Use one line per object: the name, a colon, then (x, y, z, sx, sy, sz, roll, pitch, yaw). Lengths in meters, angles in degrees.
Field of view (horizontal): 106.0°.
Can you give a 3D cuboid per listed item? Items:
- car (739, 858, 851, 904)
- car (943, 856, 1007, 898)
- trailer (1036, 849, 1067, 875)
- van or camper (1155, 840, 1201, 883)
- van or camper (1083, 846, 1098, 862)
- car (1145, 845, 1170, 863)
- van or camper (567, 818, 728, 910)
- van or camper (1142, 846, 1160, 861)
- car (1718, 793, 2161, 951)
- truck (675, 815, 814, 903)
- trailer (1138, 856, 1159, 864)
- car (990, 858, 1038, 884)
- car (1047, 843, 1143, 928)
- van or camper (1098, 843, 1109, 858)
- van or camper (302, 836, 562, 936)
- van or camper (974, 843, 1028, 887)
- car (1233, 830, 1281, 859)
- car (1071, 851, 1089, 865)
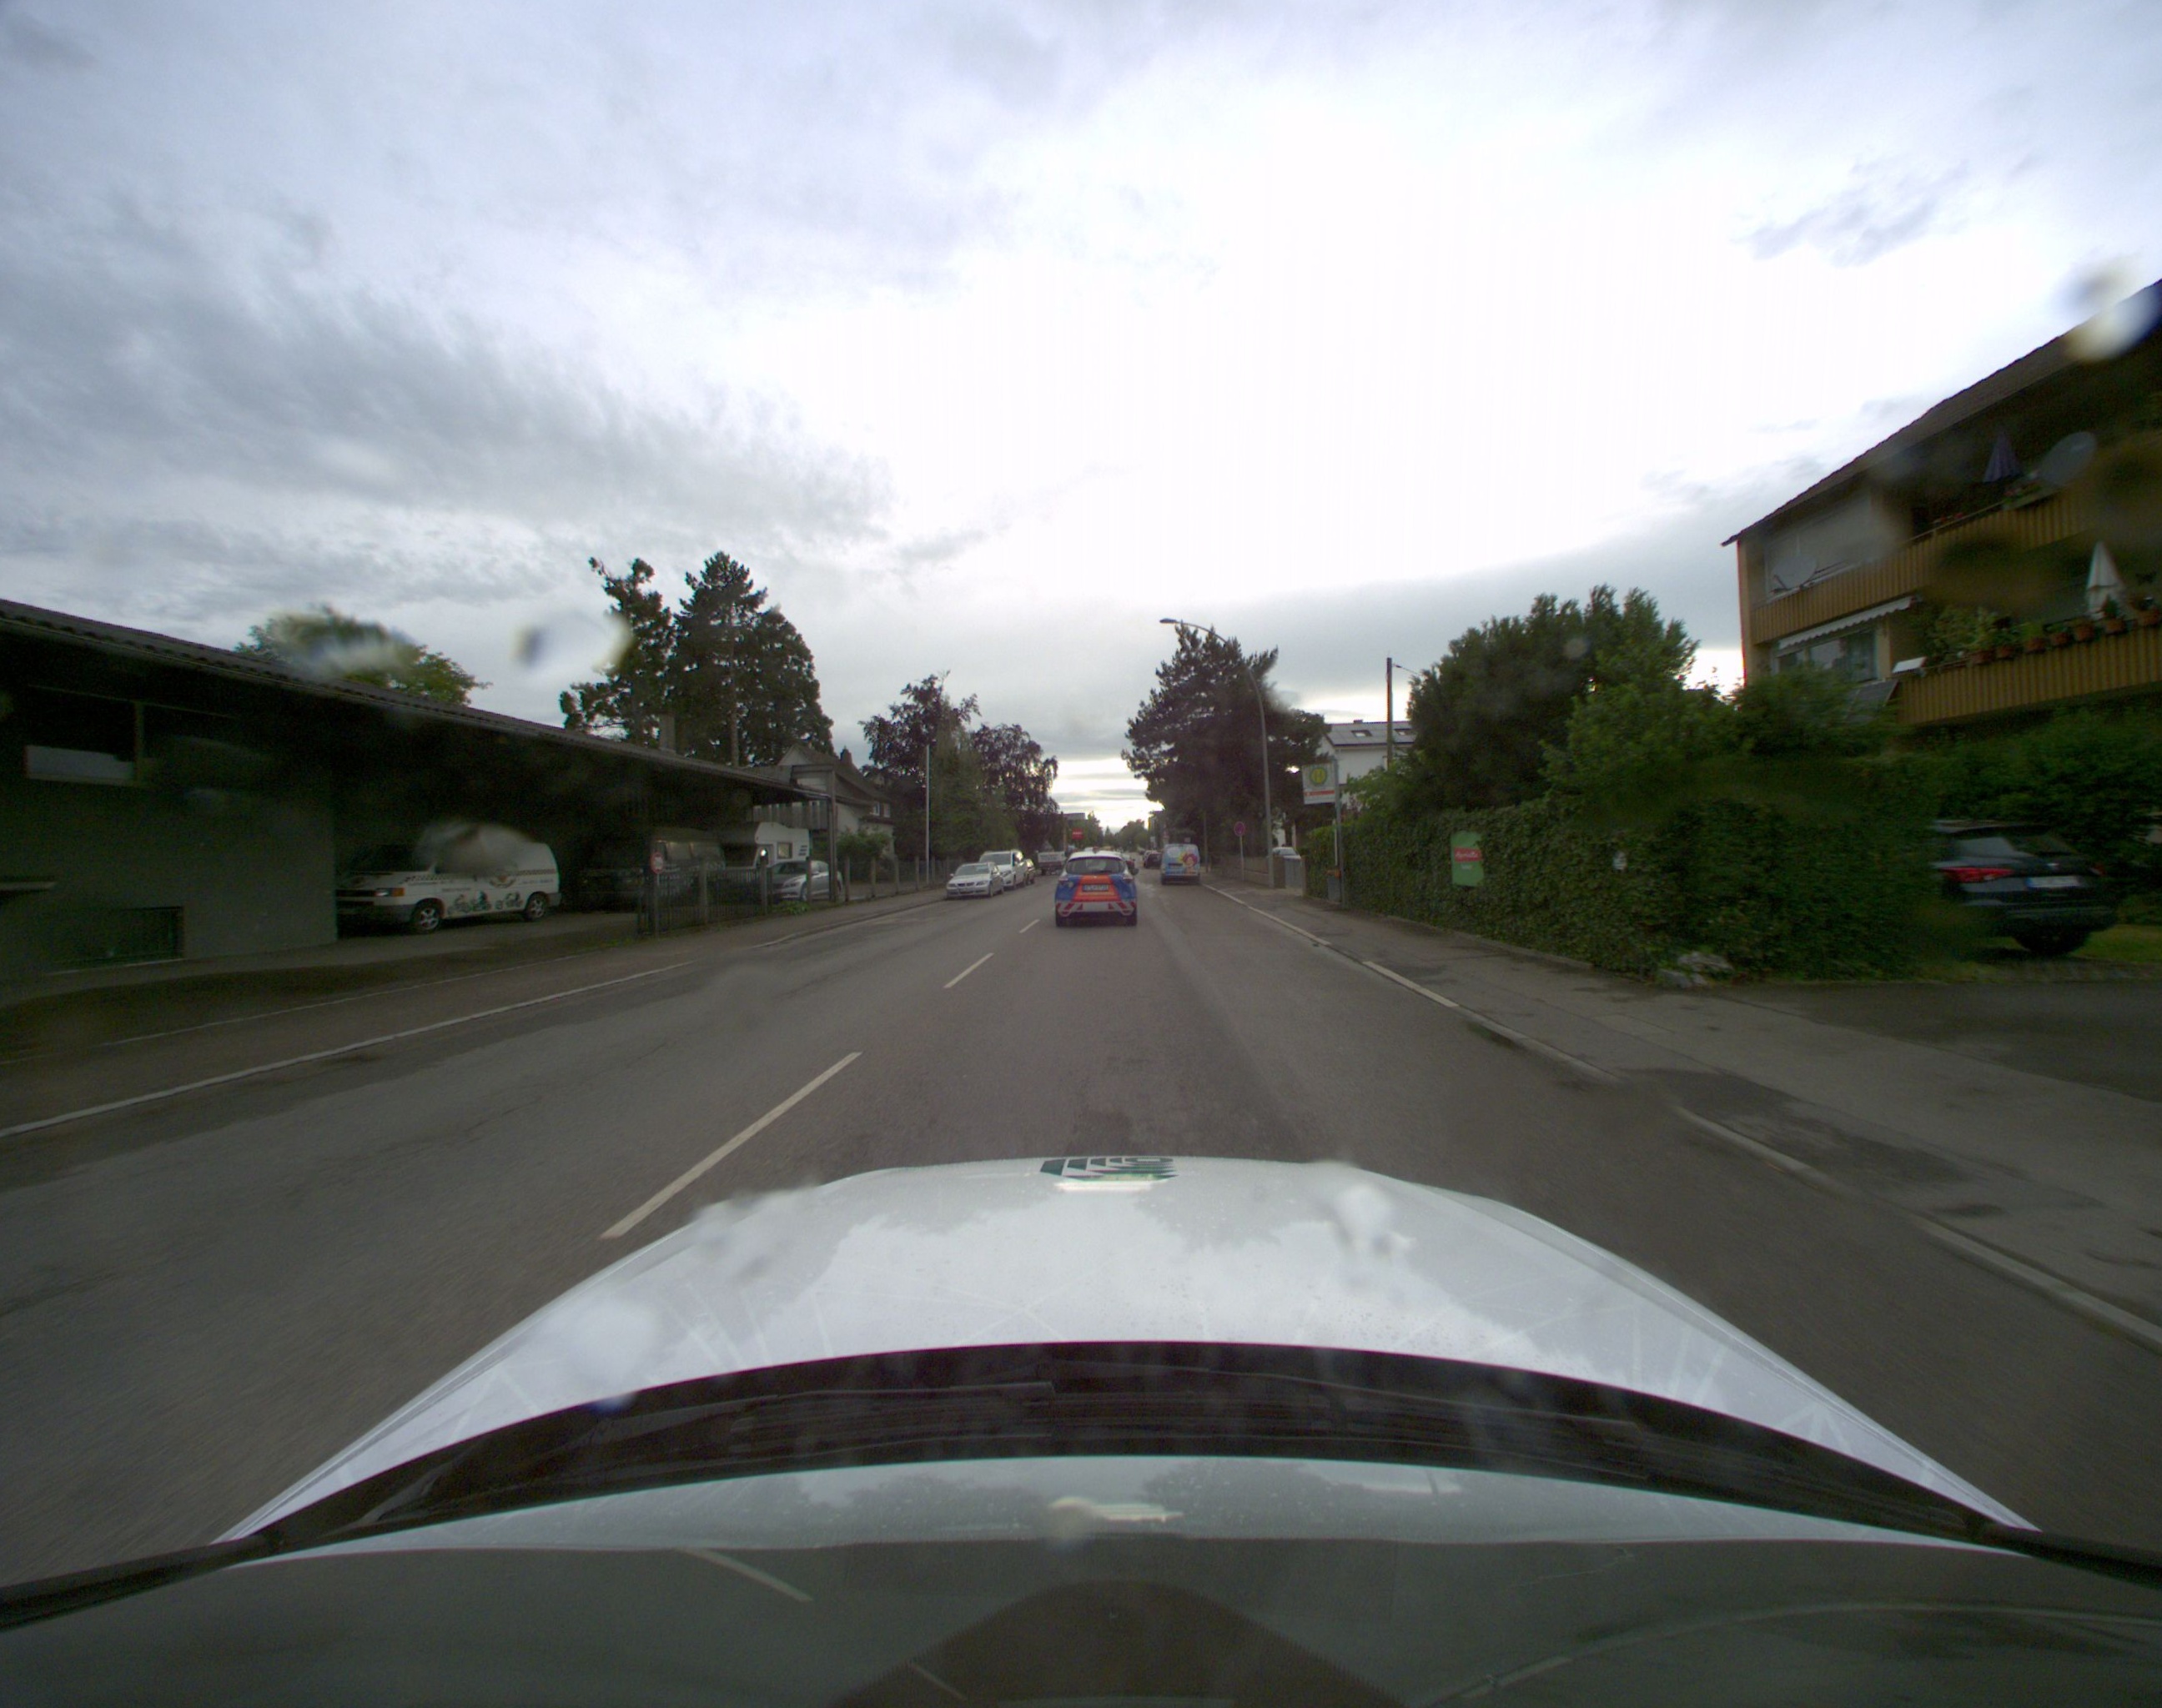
car: (-9.815, 0.904, 28.410, 1.928, 1.444, 4.786, -1, -1, 4)
car: (-4.261, 0.953, 33.320, 1.735, 1.480, 4.187, -4, -2, 4)
trailer: (-2.333, 0.703, 65.911, 2.212, 2.014, 4.437, 0, -2, 2)
van or camper: (4.486, 0.332, 38.106, 1.747, 1.883, 4.002, -2, 0, 2)
van or camper: (1.451, 0.019, 122.680, 2.153, 2.353, 4.336, -2, 0, 2)
car: (7.057, -0.048, 75.378, 1.986, 1.536, 4.002, -2, 0, 2)
van or camper: (-12.860, 0.350, 24.654, 1.852, 2.438, 5.235, 1, -2, 2)
van or camper: (8.546, -0.084, 100.043, 1.986, 1.784, 4.002, -2, 0, 2)
car: (10.036, 0.237, 10.047, 1.652, 1.547, 4.009, 0, -2, 8)
truck: (-12.296, 0.206, 30.363, 2.384, 2.927, 5.962, 0, -1, 3)
trailer: (6.581, 0.575, 80.121, 1.931, 0.754, 2.861, -2, 0, 2)
car: (-3.680, 0.912, 45.428, 1.985, 1.288, 4.004, -2, 0, 4)
car: (0.324, 0.627, 18.332, 1.882, 1.632, 4.001, -2, 0, 1)
van or camper: (4.518, -0.656, 161.859, 1.986, 2.775, 5.443, -2, 0, 2)
van or camper: (-13.828, 0.621, 17.793, 1.986, 1.909, 4.473, 0, 0, 1)
van or camper: (-3.810, 0.567, 39.730, 1.882, 2.014, 5.100, 0, -2, 3)
car: (9.776, -0.494, 45.488, 1.985, 1.486, 4.002, 0, -2, 2)
car: (-0.069, 0.469, 97.922, 1.986, 1.596, 4.001, 0, -2, 2)
